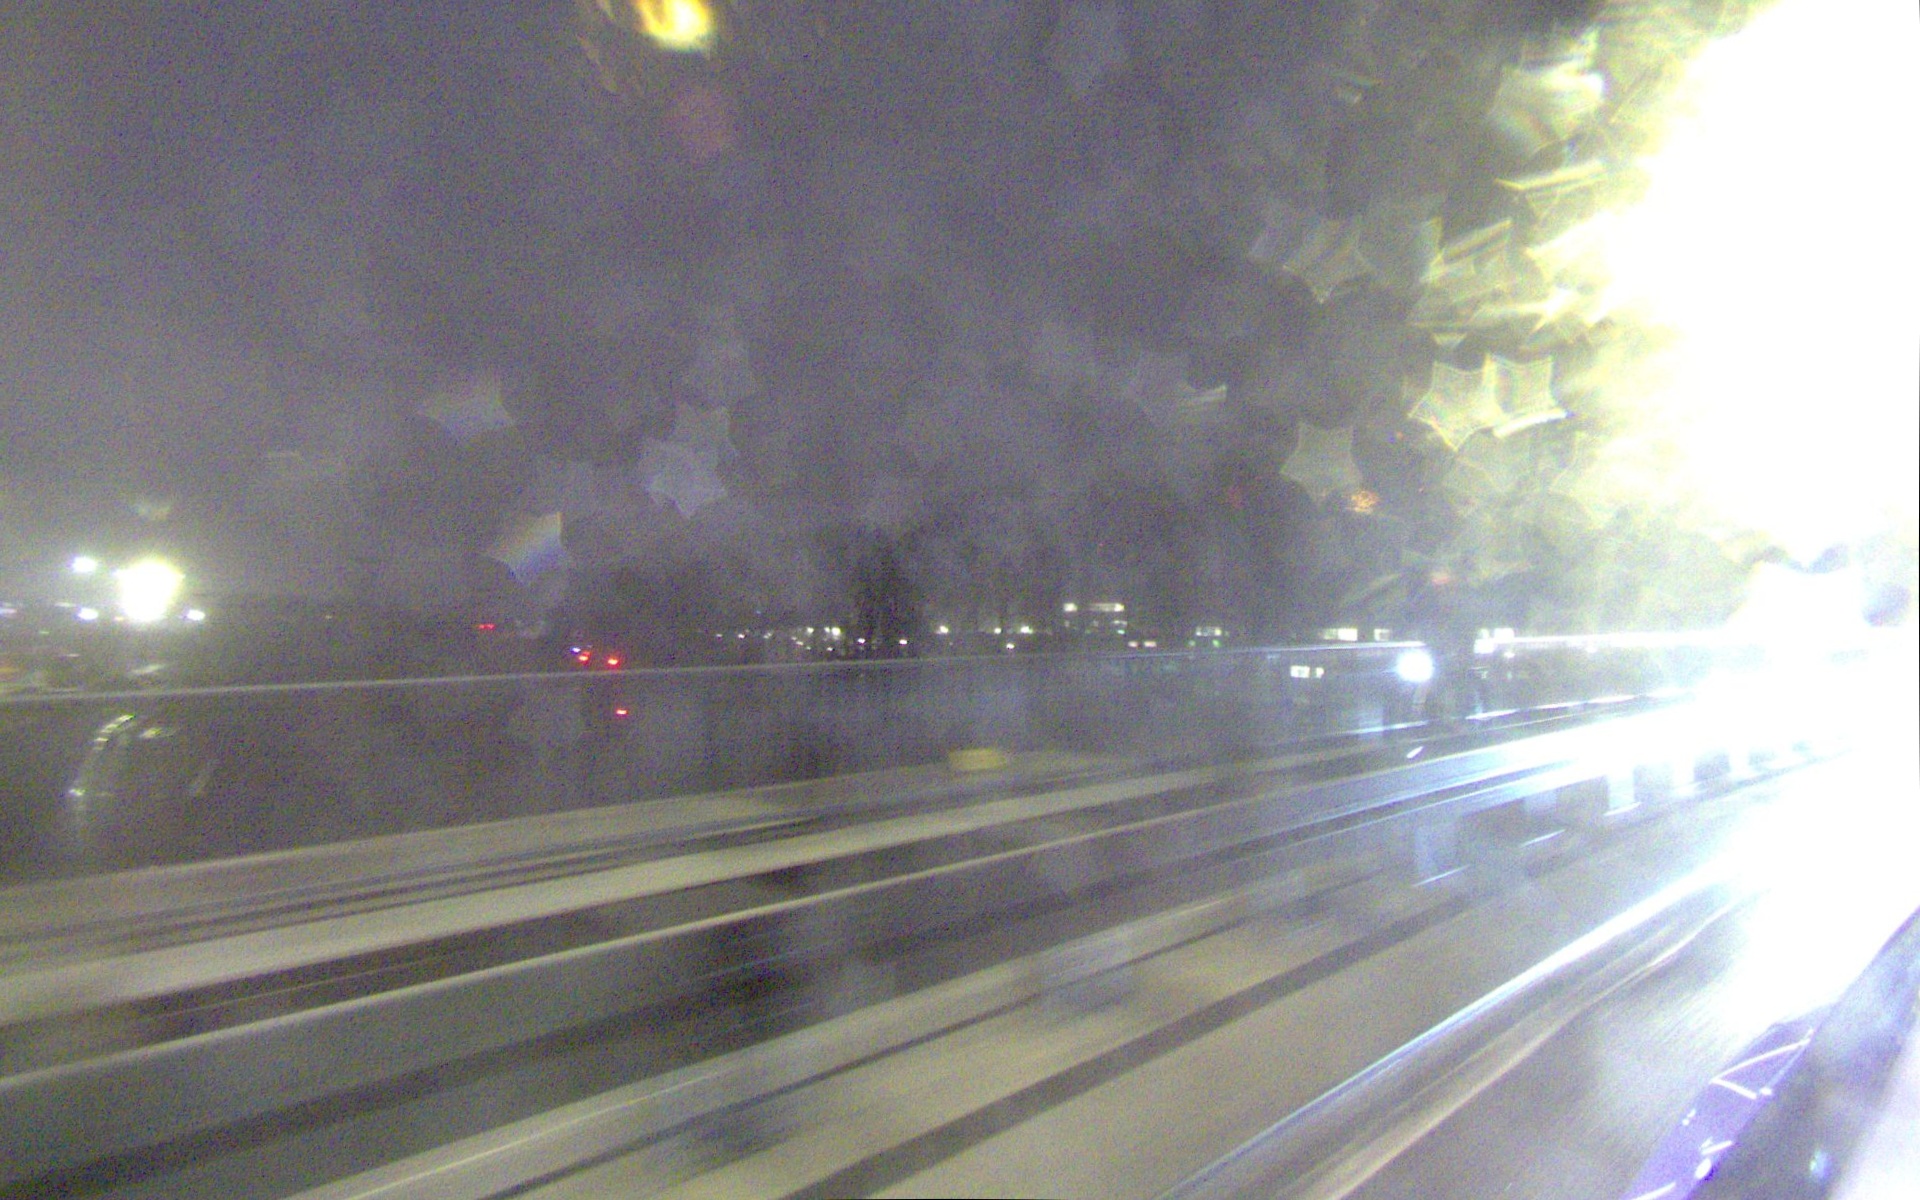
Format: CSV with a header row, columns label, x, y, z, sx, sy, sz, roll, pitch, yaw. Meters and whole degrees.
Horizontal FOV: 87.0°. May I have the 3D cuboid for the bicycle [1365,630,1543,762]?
label,x,y,z,sx,sy,sz,roll,pitch,yaw
bicycle,4.547,0.823,9.245,2.130,1.047,0.486,0,1,-35

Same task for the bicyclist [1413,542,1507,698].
label,x,y,z,sx,sy,sz,roll,pitch,yaw
bicyclist,4.574,0.178,9.258,0.749,1.366,0.454,1,-1,-34
